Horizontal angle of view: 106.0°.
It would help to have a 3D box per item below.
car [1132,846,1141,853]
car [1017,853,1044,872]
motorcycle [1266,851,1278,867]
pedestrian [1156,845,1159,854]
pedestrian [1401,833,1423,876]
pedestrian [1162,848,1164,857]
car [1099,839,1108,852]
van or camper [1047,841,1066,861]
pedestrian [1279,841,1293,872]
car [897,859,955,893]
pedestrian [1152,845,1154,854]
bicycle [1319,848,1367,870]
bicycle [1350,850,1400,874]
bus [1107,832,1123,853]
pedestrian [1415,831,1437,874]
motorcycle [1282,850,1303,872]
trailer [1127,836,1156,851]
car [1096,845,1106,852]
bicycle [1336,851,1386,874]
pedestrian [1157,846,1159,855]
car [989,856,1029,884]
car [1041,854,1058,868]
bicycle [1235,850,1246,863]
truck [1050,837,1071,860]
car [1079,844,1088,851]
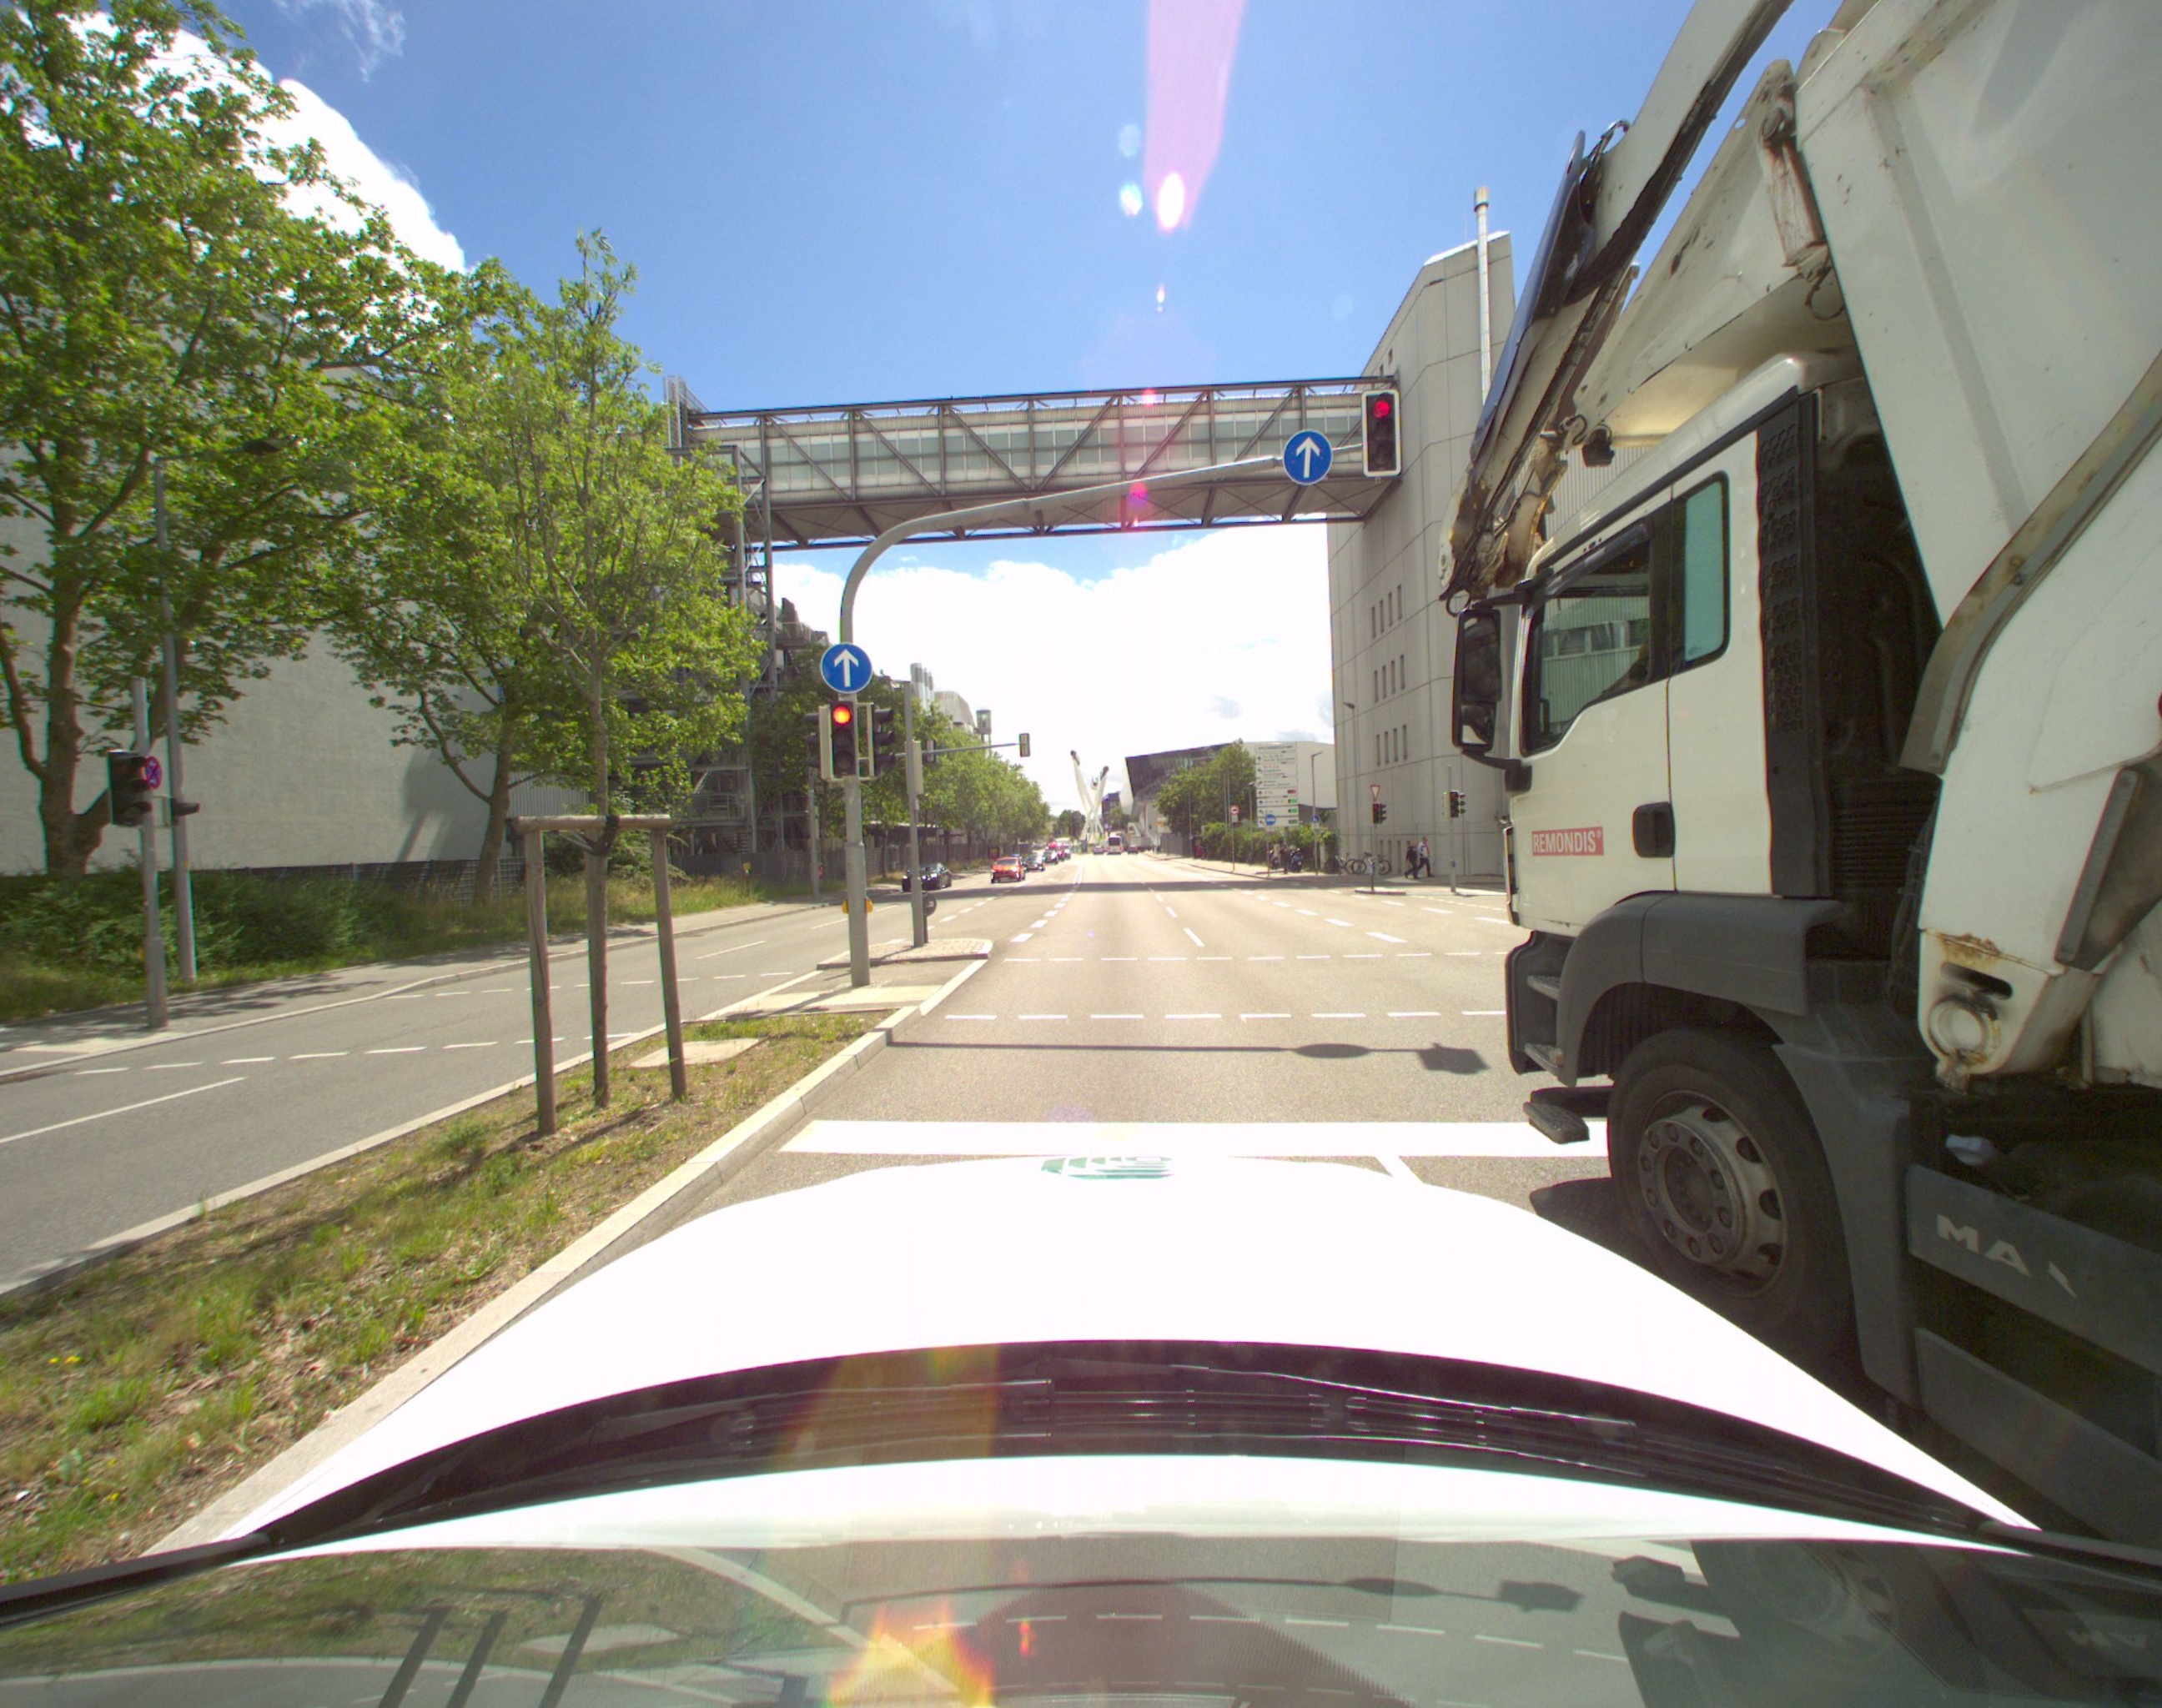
[{"bbox_3d":[9.906,-0.791,146.132,1.551,1.273,3.704,-4,0,3],"label":"car"},{"bbox_3d":[-4.244,0.687,68.910,1.762,1.420,3.704,-4,0,3],"label":"car"},{"bbox_3d":[12.176,0.333,51.882,0.455,1.022,1.914,0,-1,4],"label":"motorcycle"},{"bbox_3d":[12.780,-0.779,135.968,0.384,1.421,0.424,0,-1,2],"label":"pedestrian"},{"bbox_3d":[14.098,0.010,34.713,0.704,1.793,0.645,-4,0,15],"label":"pedestrian"},{"bbox_3d":[13.418,-0.276,133.512,0.384,1.421,0.424,0,-1,2],"label":"pedestrian"},{"bbox_3d":[4.817,-1.833,171.339,1.837,2.624,4.001,0,-1,2],"label":"car"},{"bbox_3d":[-3.208,-0.401,107.429,2.038,2.466,5.598,-1,0,3],"label":"van or camper"},{"bbox_3d":[10.988,0.146,43.666,0.532,1.640,0.657,0,-1,-4],"label":"pedestrian"},{"bbox_3d":[-8.160,1.125,43.293,1.910,1.488,4.775,-4,0,3],"label":"car"},{"bbox_3d":[12.096,-0.729,136.691,0.384,1.421,0.424,0,-1,2],"label":"pedestrian"},{"bbox_3d":[13.085,0.274,40.714,2.196,1.086,0.480,-1,-1,37],"label":"bicycle"},{"bbox_3d":[13.875,0.387,38.431,2.166,1.086,0.480,-1,-1,37],"label":"bicycle"},{"bbox_3d":[6.244,-2.009,150.092,2.776,3.686,6.947,0,-1,3],"label":"bus"},{"bbox_3d":[14.915,-0.054,35.250,0.704,1.793,0.697,-4,0,17],"label":"pedestrian"},{"bbox_3d":[11.652,0.393,44.905,0.418,1.166,1.951,0,-1,-9],"label":"motorcycle"},{"bbox_3d":[12.868,-2.143,172.044,3.291,2.995,10.429,-1,-1,21],"label":"trailer"},{"bbox_3d":[3.647,-0.979,148.860,1.551,1.273,3.704,-4,0,3],"label":"car"},{"bbox_3d":[13.519,0.397,39.370,2.196,1.086,0.480,-1,-1,37],"label":"bicycle"},{"bbox_3d":[12.616,-0.538,133.373,0.384,1.421,0.424,0,-1,2],"label":"pedestrian"},{"bbox_3d":[-4.218,0.896,47.979,1.762,1.420,3.704,-4,0,3],"label":"car"},{"bbox_3d":[-3.587,0.738,92.502,1.551,1.448,3.775,-4,0,3],"label":"car"},{"bbox_3d":[12.727,0.171,65.140,0.417,1.022,1.911,0,-1,-2],"label":"bicycle"},{"bbox_3d":[-2.954,-0.801,119.971,2.581,3.324,7.083,0,-1,3],"label":"truck"},{"bbox_3d":[0.457,-1.172,155.966,1.551,1.273,3.704,-4,0,3],"label":"car"}]
